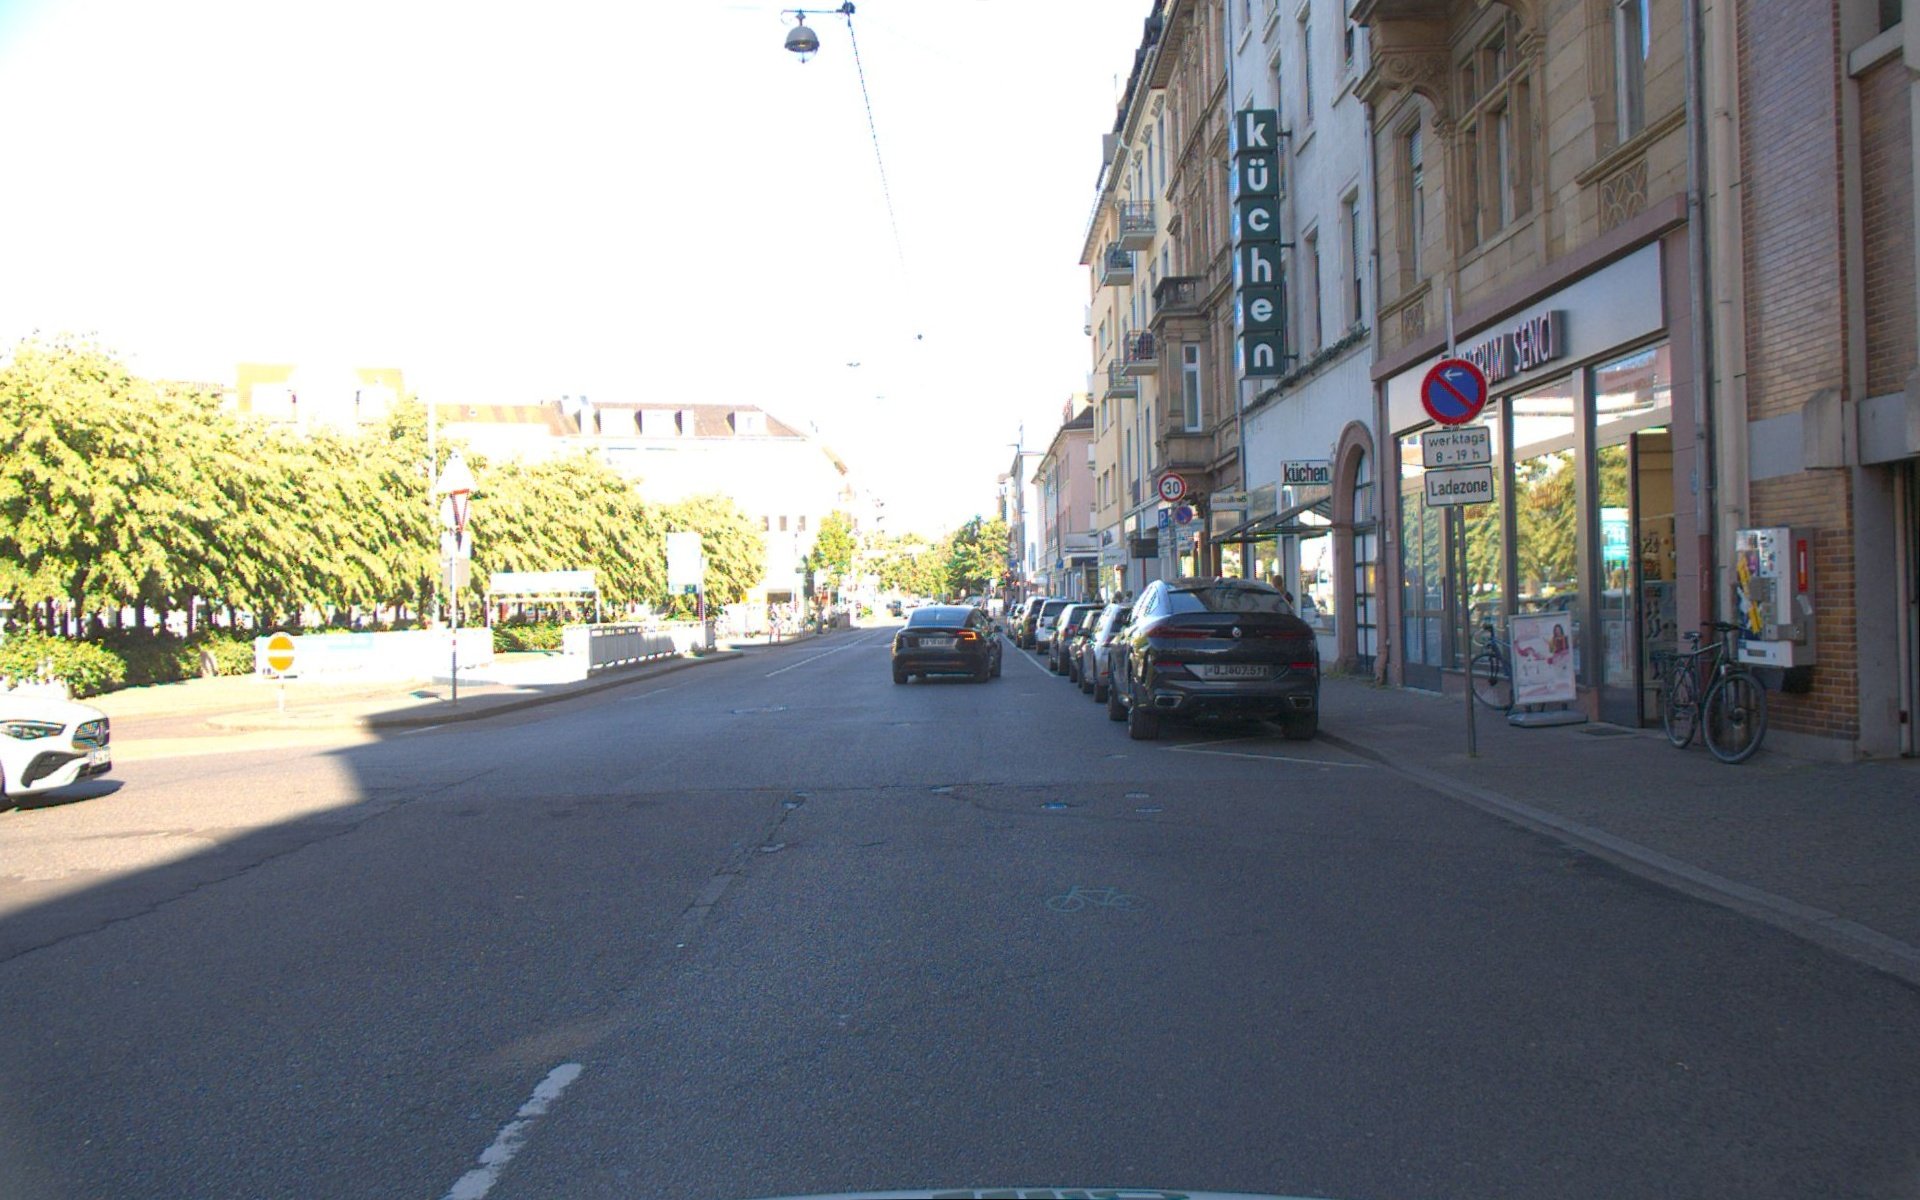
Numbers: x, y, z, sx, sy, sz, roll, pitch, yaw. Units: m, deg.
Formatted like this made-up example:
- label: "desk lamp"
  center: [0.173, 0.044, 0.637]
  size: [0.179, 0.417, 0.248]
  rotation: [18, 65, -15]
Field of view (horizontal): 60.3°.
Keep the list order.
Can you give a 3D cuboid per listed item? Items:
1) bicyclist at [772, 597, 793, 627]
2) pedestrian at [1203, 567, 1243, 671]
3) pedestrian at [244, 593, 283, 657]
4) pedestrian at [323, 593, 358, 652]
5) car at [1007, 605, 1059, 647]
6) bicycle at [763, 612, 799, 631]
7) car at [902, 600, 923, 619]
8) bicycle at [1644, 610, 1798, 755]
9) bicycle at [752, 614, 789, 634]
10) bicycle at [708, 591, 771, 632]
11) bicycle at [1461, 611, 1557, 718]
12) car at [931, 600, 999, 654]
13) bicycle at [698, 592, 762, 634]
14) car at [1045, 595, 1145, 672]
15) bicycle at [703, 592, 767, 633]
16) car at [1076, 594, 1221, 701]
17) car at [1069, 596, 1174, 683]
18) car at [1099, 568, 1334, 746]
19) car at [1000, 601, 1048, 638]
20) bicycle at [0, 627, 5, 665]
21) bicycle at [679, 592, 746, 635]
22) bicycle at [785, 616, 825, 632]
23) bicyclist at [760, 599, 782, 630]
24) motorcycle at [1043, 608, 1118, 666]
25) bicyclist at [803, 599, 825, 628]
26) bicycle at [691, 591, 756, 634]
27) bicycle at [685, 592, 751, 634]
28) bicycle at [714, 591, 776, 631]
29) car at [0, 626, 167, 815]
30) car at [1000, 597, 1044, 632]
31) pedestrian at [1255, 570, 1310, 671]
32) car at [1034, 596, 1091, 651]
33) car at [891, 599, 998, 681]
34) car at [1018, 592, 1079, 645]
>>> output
- label: "bicyclist"
  center: [-10.172, 0.695, 94.873]
  size: [1.123, 1.715, 0.819]
  rotation: [-1, 0, -4]
- label: "pedestrian"
  center: [4.615, 0.324, 29.063]
  size: [0.607, 1.797, 0.519]
  rotation: [-1, 0, 2]
- label: "pedestrian"
  center: [-23.396, 0.832, 55.544]
  size: [0.717, 2.145, 0.967]
  rotation: [-1, 0, 22]
- label: "pedestrian"
  center: [-22.713, 0.824, 60.625]
  size: [0.717, 2.145, 0.967]
  rotation: [-1, 0, 22]
- label: "car"
  center: [2.651, 0.950, 60.929]
  size: [1.755, 1.485, 4.084]
  rotation: [0, -1, 0]
- label: "bicycle"
  center: [-10.249, 1.231, 94.861]
  size: [1.971, 1.040, 0.762]
  rotation: [-1, 0, -4]
- label: "car"
  center: [-4.849, 0.944, 169.919]
  size: [1.952, 1.803, 4.001]
  rotation: [0, 1, 1]
- label: "bicycle"
  center: [6.182, 0.634, 13.525]
  size: [0.350, 1.063, 1.790]
  rotation: [-4, 0, -1]
- label: "bicycle"
  center: [-10.611, 1.344, 92.561]
  size: [1.971, 1.040, 0.887]
  rotation: [-1, 0, -4]
- label: "bicycle"
  center: [-11.400, 0.583, 85.612]
  size: [3.054, 2.049, 0.909]
  rotation: [-1, 0, 9]
- label: "bicycle"
  center: [6.123, 0.690, 18.530]
  size: [0.350, 1.104, 1.941]
  rotation: [-4, 0, -1]
- label: "car"
  center: [0.188, 0.770, 49.625]
  size: [1.894, 1.513, 4.272]
  rotation: [-1, 0, 2]
- label: "bicycle"
  center: [-11.615, 0.633, 83.491]
  size: [3.054, 2.049, 0.909]
  rotation: [-1, 0, 9]
- label: "car"
  center: [2.889, 0.681, 36.155]
  size: [1.801, 1.573, 4.228]
  rotation: [0, 0, -1]
- label: "bicycle"
  center: [-11.513, 0.628, 84.574]
  size: [3.054, 2.049, 0.909]
  rotation: [-1, 0, 9]
- label: "car"
  center: [2.841, 0.669, 25.785]
  size: [1.801, 1.513, 4.184]
  rotation: [0, 0, 0]
- label: "car"
  center: [2.912, 0.676, 30.404]
  size: [1.575, 1.474, 3.830]
  rotation: [0, 0, 0]
- label: "car"
  center: [2.739, 0.545, 18.755]
  size: [1.933, 1.755, 4.824]
  rotation: [0, 0, 0]
- label: "car"
  center: [2.588, 0.818, 67.799]
  size: [1.756, 1.485, 3.867]
  rotation: [0, -1, -1]
- label: "bicycle"
  center: [-39.820, 1.907, 66.909]
  size: [0.945, 1.529, 2.685]
  rotation: [-1, 0, -5]
- label: "bicycle"
  center: [-12.039, 0.654, 80.497]
  size: [3.054, 2.049, 0.909]
  rotation: [-1, 0, 9]
- label: "bicycle"
  center: [-9.101, 1.418, 96.968]
  size: [2.197, 0.898, 0.924]
  rotation: [-1, 0, 4]
- label: "bicyclist"
  center: [-10.582, 0.806, 92.564]
  size: [1.123, 1.715, 0.918]
  rotation: [-1, 0, -3]
- label: "motorcycle"
  center: [2.936, 0.887, 40.227]
  size: [0.645, 1.351, 2.030]
  rotation: [-1, 0, 44]
- label: "bicyclist"
  center: [-8.577, 0.787, 96.938]
  size: [1.122, 1.715, 0.915]
  rotation: [-1, 0, 3]
- label: "bicycle"
  center: [-11.783, 0.624, 82.445]
  size: [3.054, 2.049, 0.909]
  rotation: [-1, 0, 9]
- label: "bicycle"
  center: [-11.923, 0.639, 81.453]
  size: [3.054, 2.049, 0.909]
  rotation: [-1, 0, 9]
- label: "bicycle"
  center: [-11.243, 0.565, 86.655]
  size: [3.054, 2.049, 0.909]
  rotation: [-1, 0, 9]
- label: "car"
  center: [-9.565, 1.084, 13.679]
  size: [5.013, 1.447, 1.993]
  rotation: [-3, 0, -13]
- label: "car"
  center: [2.680, 0.643, 72.195]
  size: [1.755, 1.485, 3.868]
  rotation: [0, -1, 0]
- label: "pedestrian"
  center: [5.637, 0.351, 28.953]
  size: [0.784, 1.704, 0.590]
  rotation: [-3, 0, 2]
- label: "car"
  center: [3.004, 0.681, 49.039]
  size: [1.580, 1.573, 2.855]
  rotation: [0, 0, 1]
- label: "car"
  center: [-0.325, 0.776, 32.669]
  size: [1.955, 1.506, 4.494]
  rotation: [0, -1, -1]
- label: "car"
  center: [2.873, 0.624, 54.657]
  size: [1.681, 1.664, 4.082]
  rotation: [0, -1, -2]
